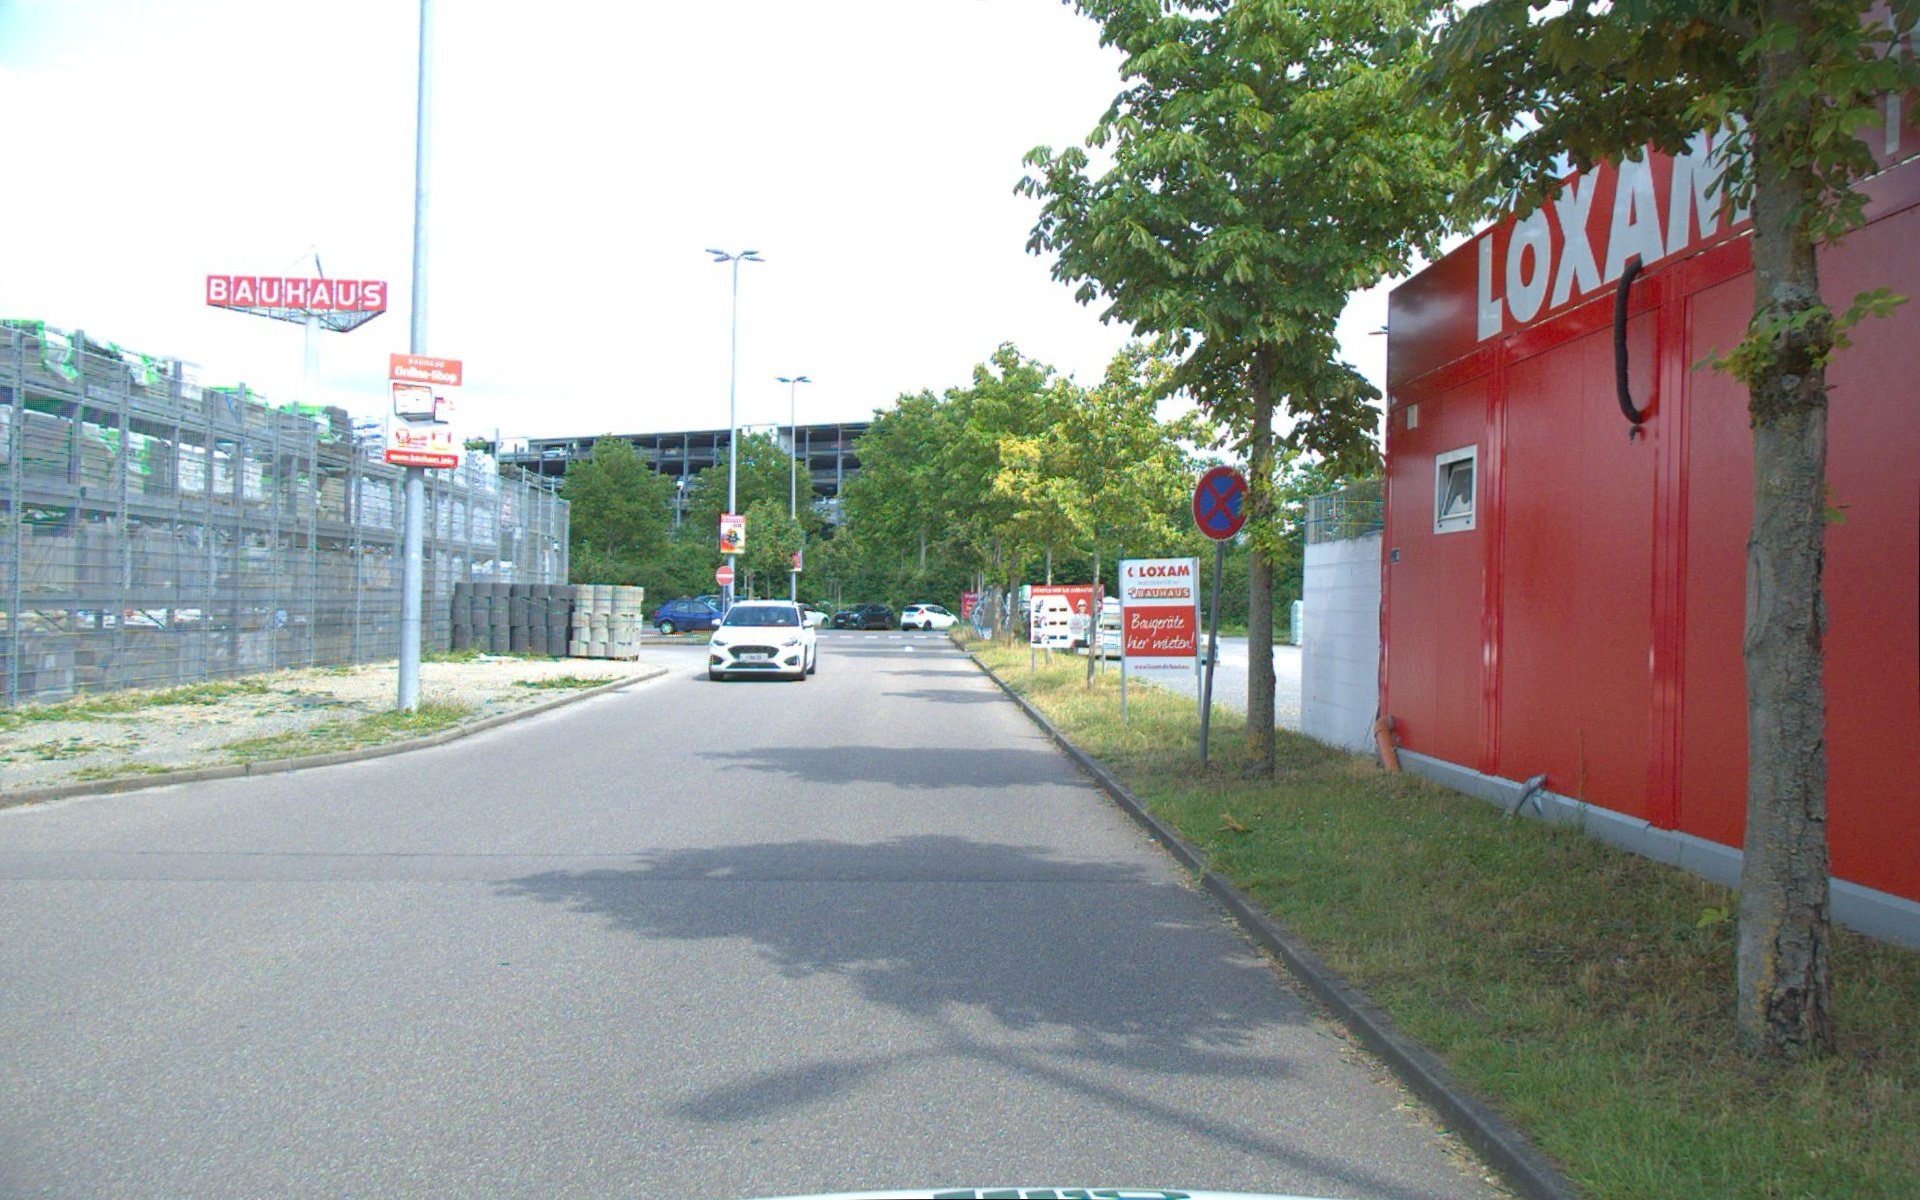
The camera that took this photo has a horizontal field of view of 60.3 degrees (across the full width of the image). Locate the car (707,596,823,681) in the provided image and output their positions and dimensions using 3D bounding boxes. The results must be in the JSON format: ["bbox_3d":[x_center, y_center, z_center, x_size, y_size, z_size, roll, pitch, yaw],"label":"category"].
[{"bbox_3d":[-3.671,0.684,31.747,1.767,1.490,4.328,1,0,-1],"label":"car"}]

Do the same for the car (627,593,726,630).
[{"bbox_3d":[-11.308,0.451,66.190,3.675,1.392,1.620,1,0,-2],"label":"car"}]

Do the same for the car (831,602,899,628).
[{"bbox_3d":[-5.364,0.858,93.832,1.697,1.435,4.231,1,0,32],"label":"car"}]

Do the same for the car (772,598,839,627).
[{"bbox_3d":[-9.039,0.731,96.915,1.656,1.536,4.067,-6,-4,35],"label":"car"}]

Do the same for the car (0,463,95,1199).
[{"bbox_3d":[-2.513,0.609,0.853,1.876,1.646,4.373,0,1,-1],"label":"car"}]

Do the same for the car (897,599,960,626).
[{"bbox_3d":[-1.716,0.669,91.088,1.637,1.436,3.543,0,0,37],"label":"car"}]
